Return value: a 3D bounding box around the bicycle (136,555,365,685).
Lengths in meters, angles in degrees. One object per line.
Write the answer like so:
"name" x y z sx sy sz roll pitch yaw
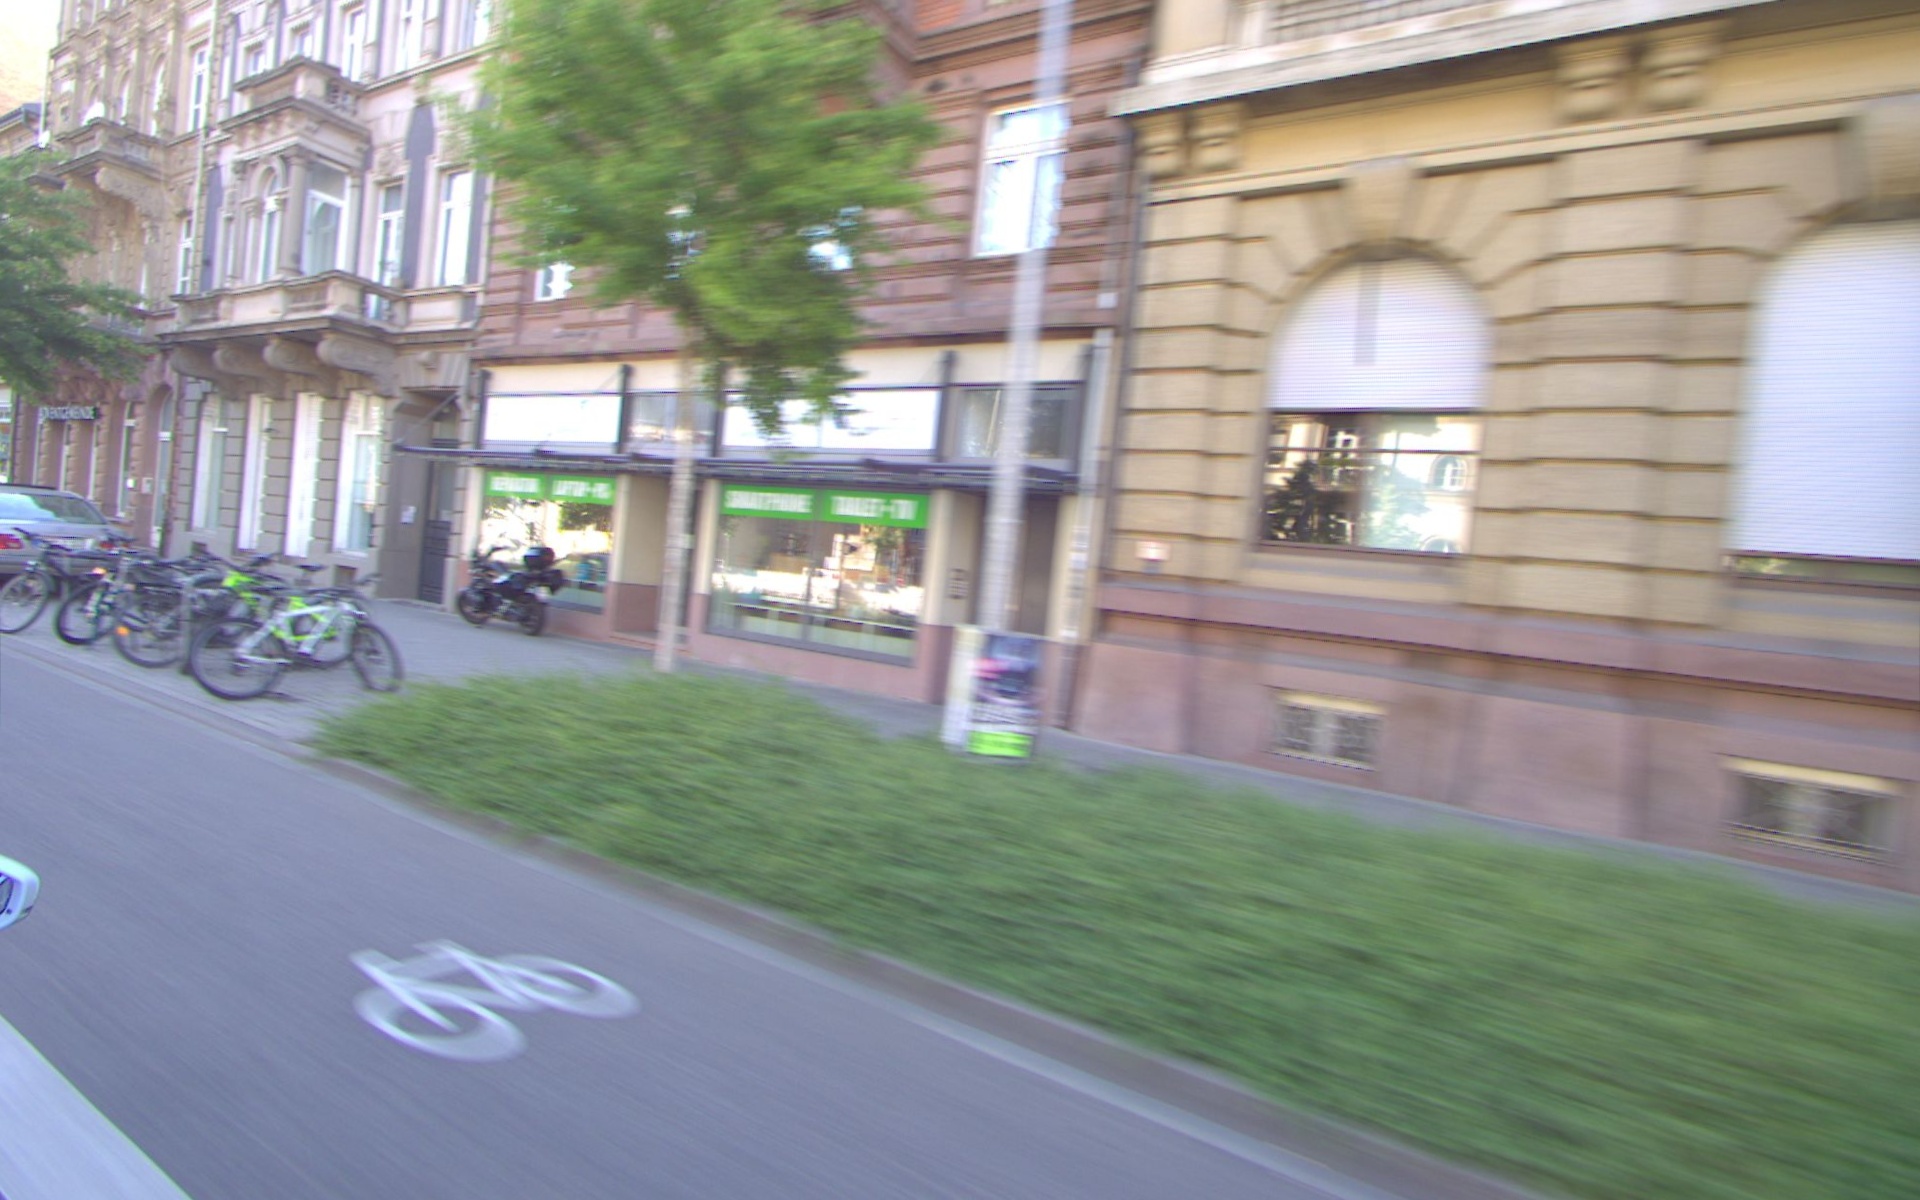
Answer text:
"bicycle" -6.522 0.176 9.351 0.481 1.062 1.694 7 2 24

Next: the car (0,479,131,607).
"car" -13.479 -0.911 14.208 4.144 1.506 1.636 8 3 35

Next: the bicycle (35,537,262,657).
"bicycle" -8.028 -0.031 10.026 0.481 1.063 1.690 7 4 32

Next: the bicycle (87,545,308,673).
"bicycle" -7.087 0.086 9.432 0.481 1.062 1.578 7 2 24

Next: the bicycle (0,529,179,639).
"bicycle" -9.326 -0.166 10.578 0.481 1.063 1.690 7 4 32

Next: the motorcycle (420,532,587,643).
"motorcycle" -6.839 -0.212 14.992 2.804 1.326 0.794 8 4 32

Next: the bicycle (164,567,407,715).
"bicycle" -5.482 0.320 8.276 0.481 1.062 1.577 7 3 28
